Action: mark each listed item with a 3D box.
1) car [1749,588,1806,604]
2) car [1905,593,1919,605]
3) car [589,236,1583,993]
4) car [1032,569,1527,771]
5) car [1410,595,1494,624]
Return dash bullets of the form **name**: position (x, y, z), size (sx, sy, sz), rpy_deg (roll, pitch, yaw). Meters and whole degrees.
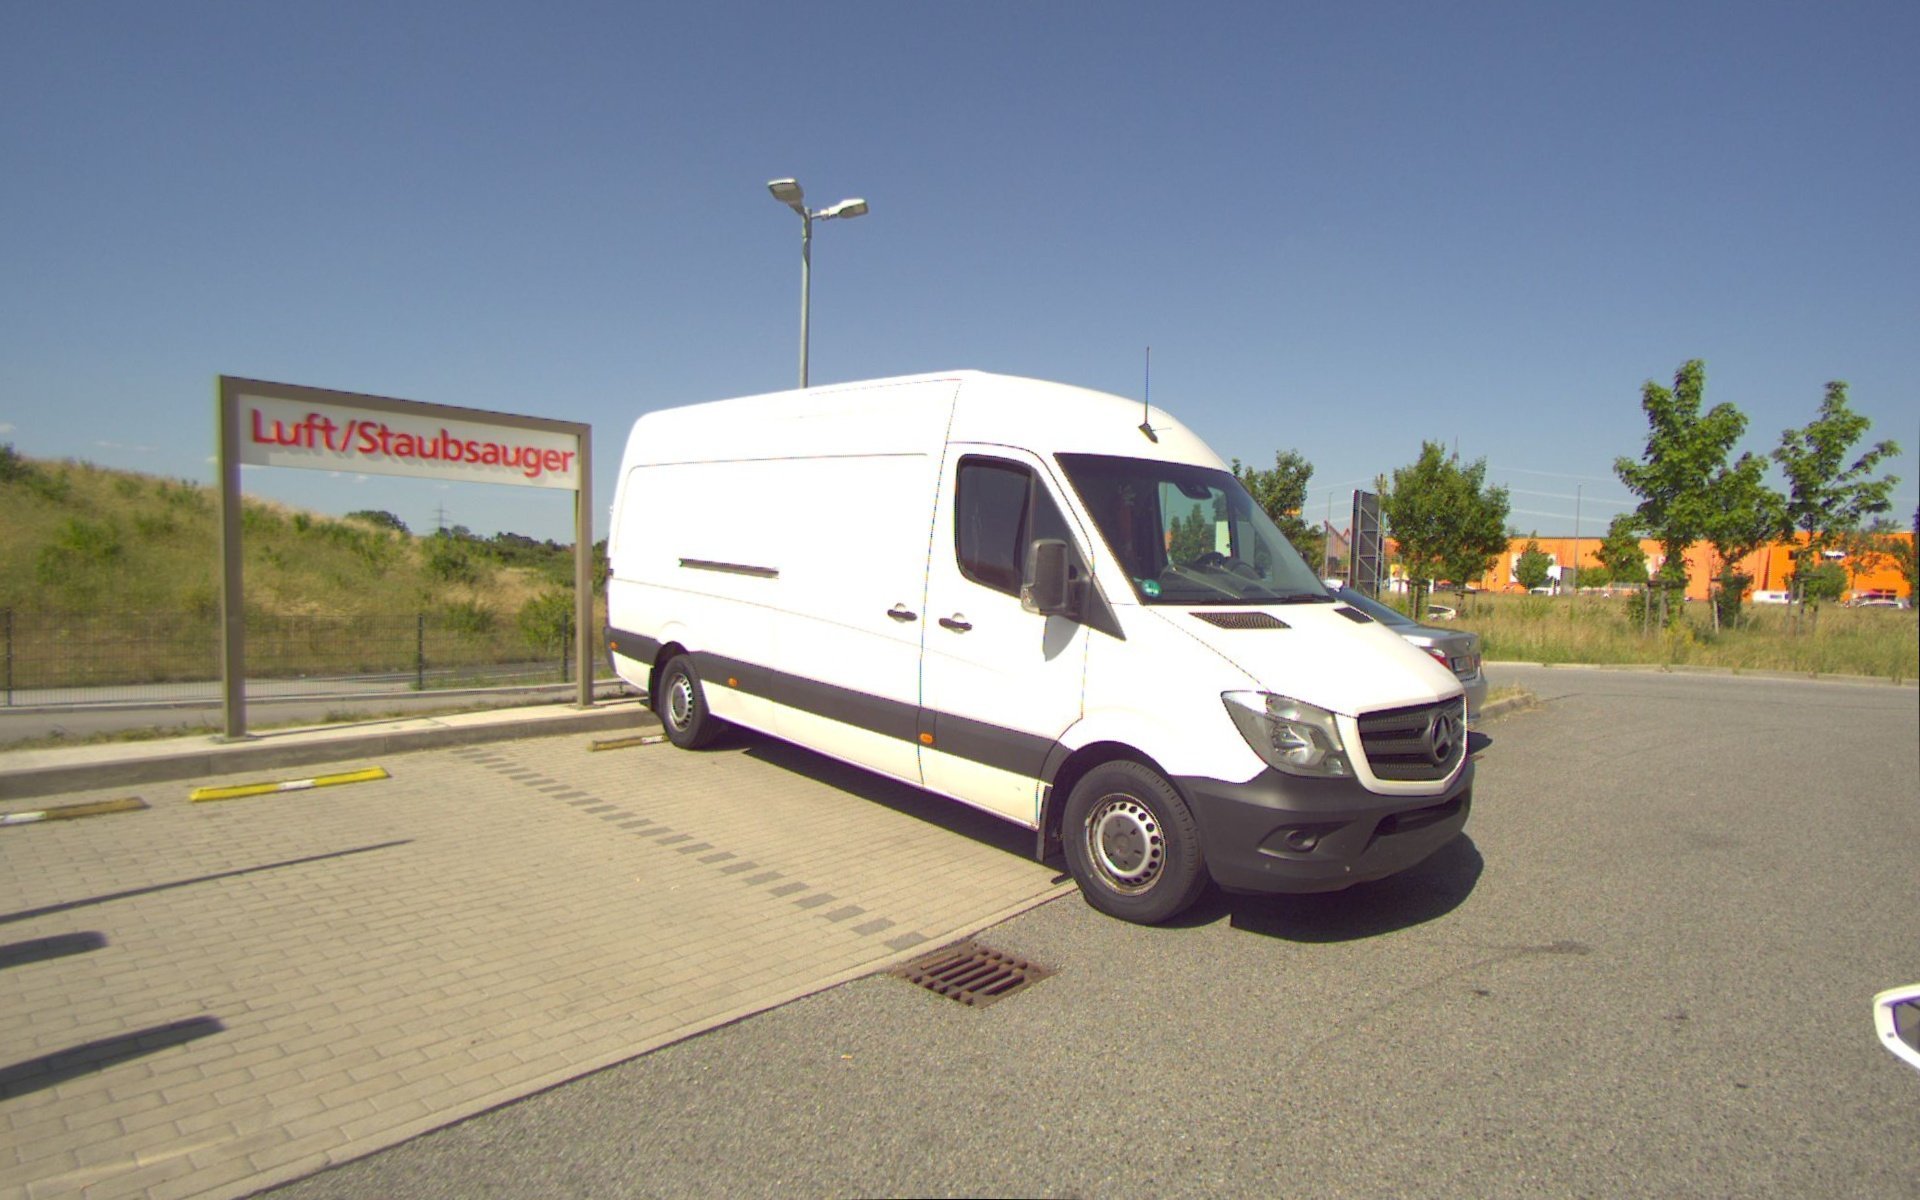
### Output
- **car**: position (83.640, -0.424, 102.771), size (4.324, 1.568, 1.783), rpy_deg (2, 2, 44)
- **car**: position (88.275, -0.060, 91.098), size (3.660, 1.128, 1.584), rpy_deg (2, 2, 44)
- **car**: position (-0.145, -0.153, 6.724), size (1.985, 2.606, 6.944), rpy_deg (0, 4, -41)
- **car**: position (2.936, 0.498, 9.877), size (4.260, 1.448, 1.783), rpy_deg (4, 3, 43)
- **car**: position (25.618, 0.473, 52.364), size (3.691, 1.316, 1.477), rpy_deg (2, 2, 44)
